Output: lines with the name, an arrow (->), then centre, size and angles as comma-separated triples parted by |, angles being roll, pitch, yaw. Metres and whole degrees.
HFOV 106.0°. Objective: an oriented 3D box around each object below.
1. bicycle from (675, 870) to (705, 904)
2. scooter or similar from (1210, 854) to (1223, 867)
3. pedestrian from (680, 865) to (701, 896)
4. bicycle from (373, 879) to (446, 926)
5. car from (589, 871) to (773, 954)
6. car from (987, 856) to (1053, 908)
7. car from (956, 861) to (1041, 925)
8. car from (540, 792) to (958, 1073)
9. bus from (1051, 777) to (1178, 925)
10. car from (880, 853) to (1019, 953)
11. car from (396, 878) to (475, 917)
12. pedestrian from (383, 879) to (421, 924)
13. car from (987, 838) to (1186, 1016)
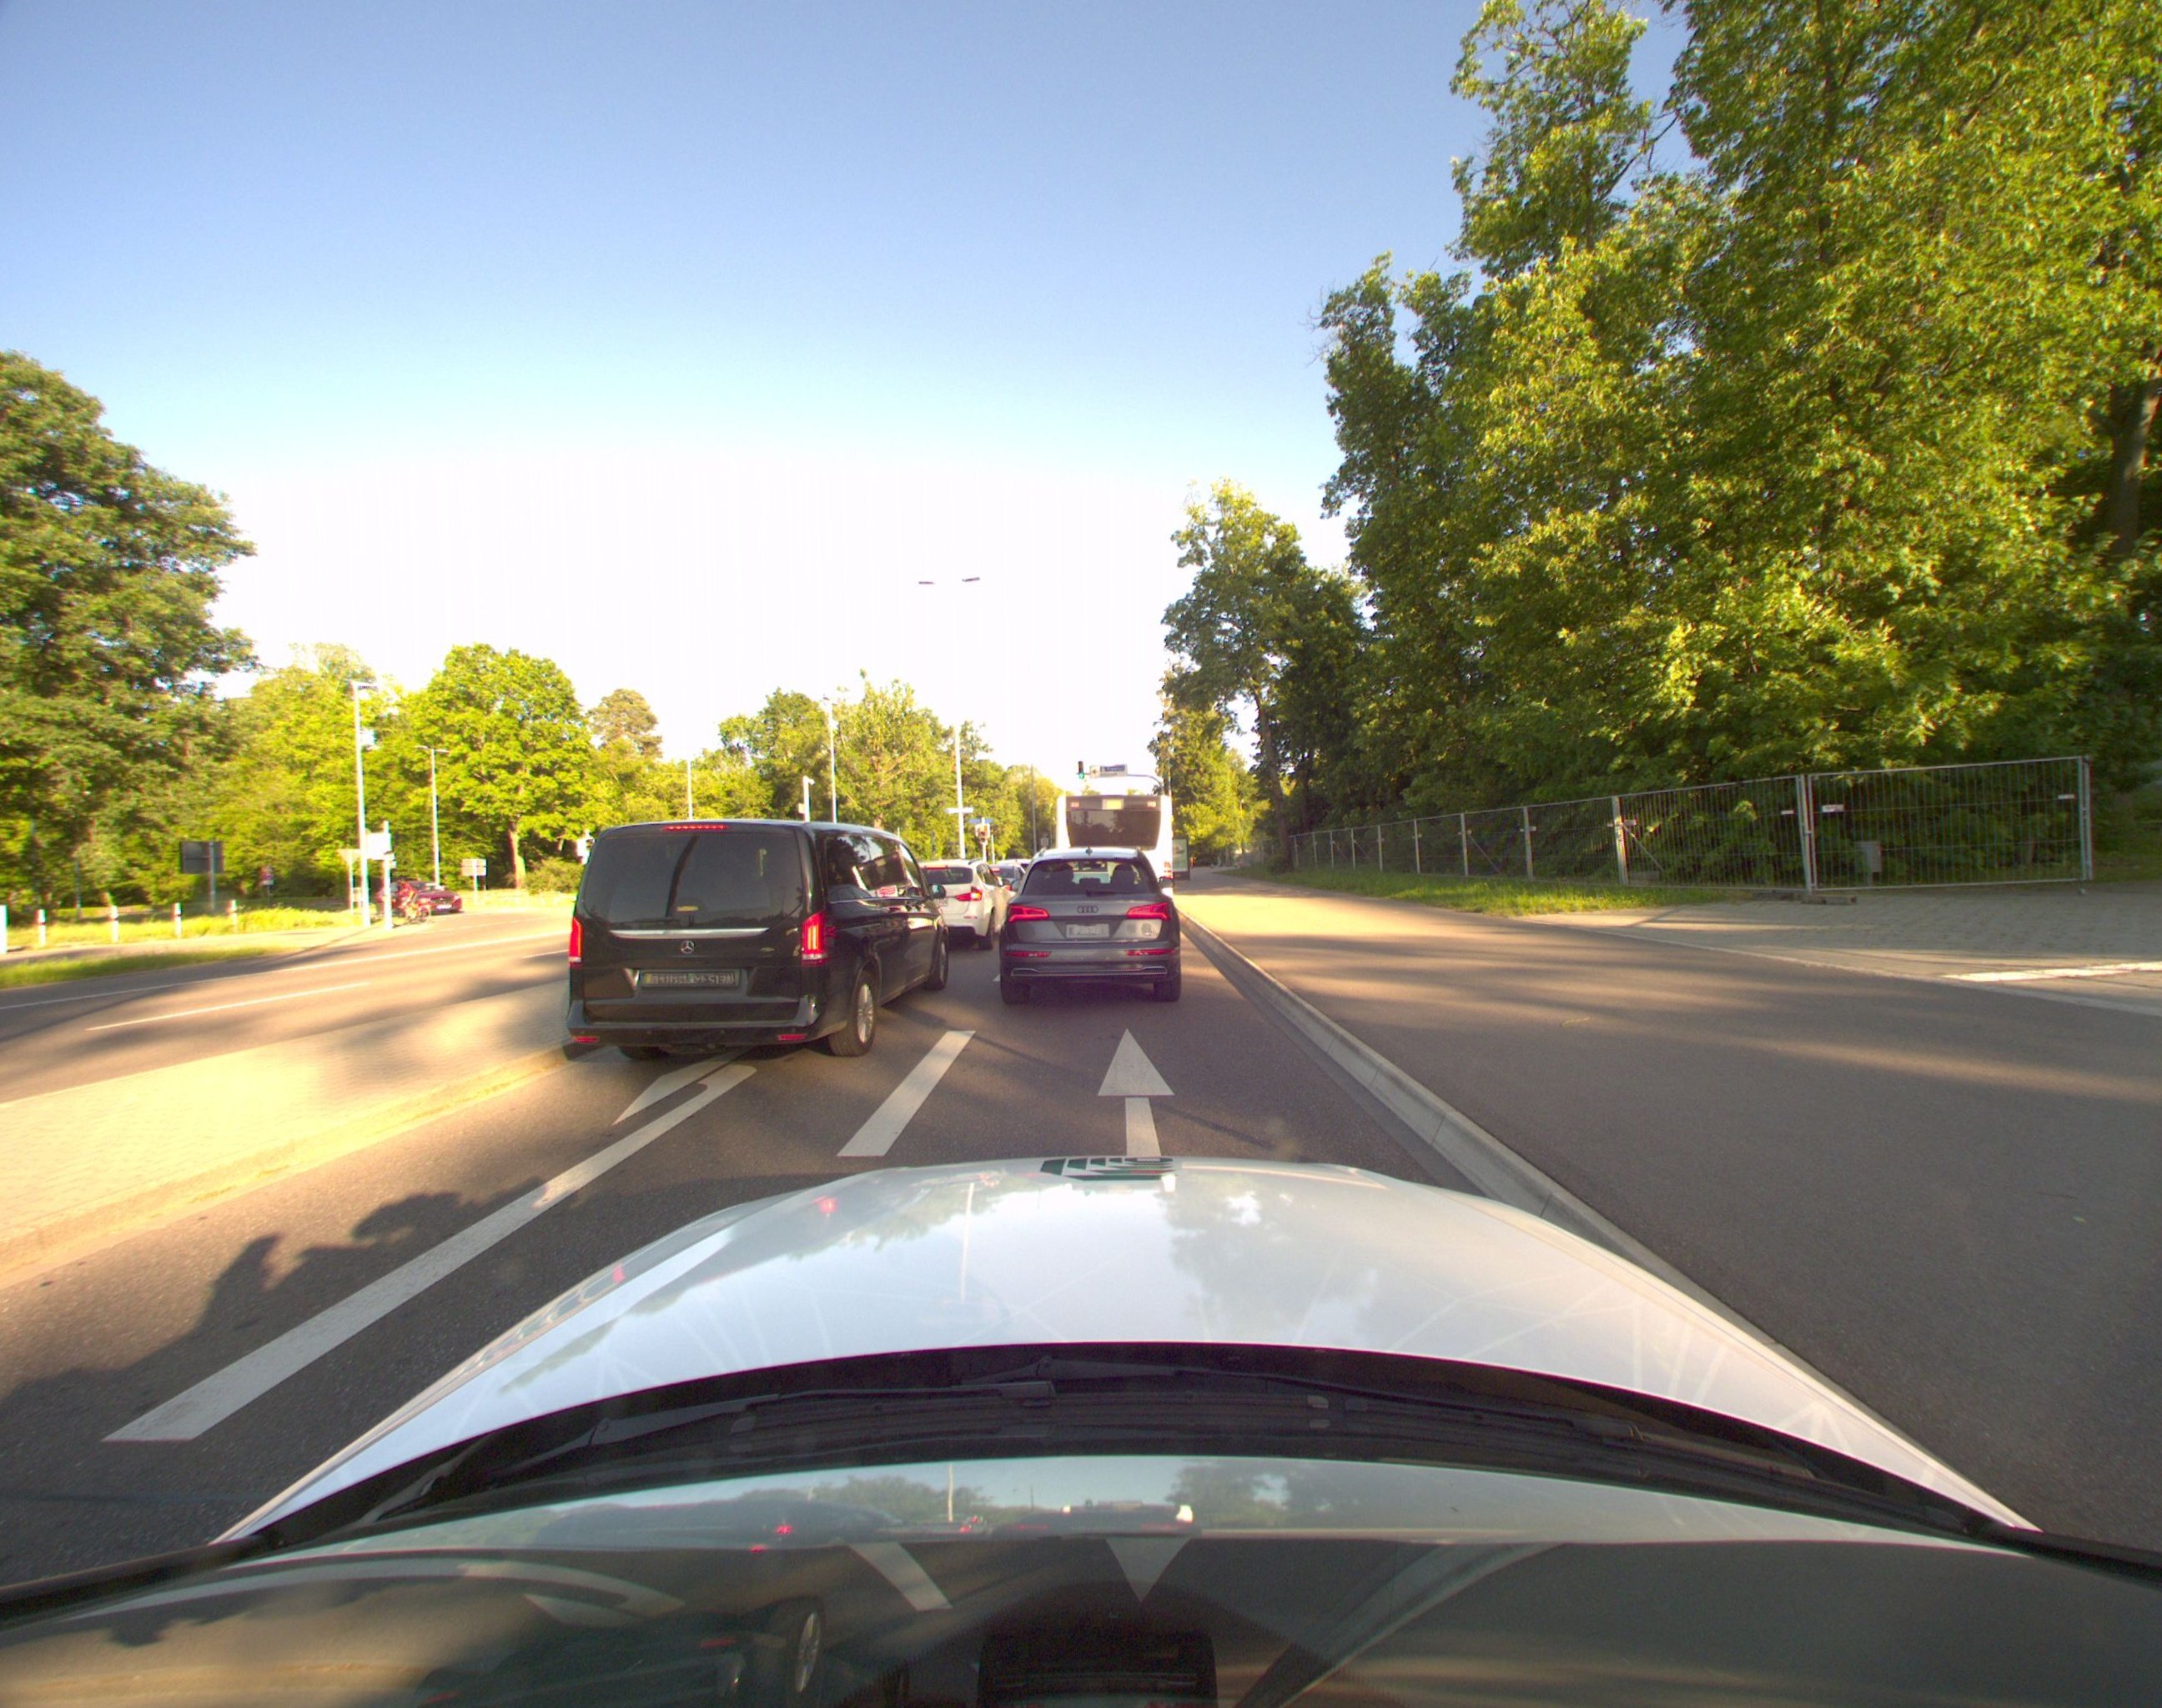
bicycle -> -20.735, 1.733, 43.216 | 0.613, 1.750, 1.993 | 0, -1, 0
scooter or similar -> 12.931, 0.602, 77.569 | 1.175, 1.174, 0.661 | 0, 0, 13
pedestrian -> -20.730, 1.376, 43.249 | 0.693, 1.626, 0.789 | 0, -1, 2
bicycle -> -23.627, 1.695, 28.702 | 0.747, 1.551, 2.024 | -1, -1, 5
car -> -7.674, 1.060, 16.067 | 1.593, 1.396, 3.846 | 0, -1, 3
car -> -2.005, 0.890, 27.708 | 1.801, 1.572, 4.002 | 0, 0, 2
car -> -2.040, 0.937, 21.302 | 1.779, 1.444, 4.277 | 0, 0, 0
car -> -2.581, 0.543, 7.855 | 1.900, 1.856, 4.875 | -1, -1, 2
bus -> 0.871, -0.080, 20.297 | 2.667, 3.142, 5.886 | 0, 0, 3
car -> -2.267, 0.799, 15.171 | 1.712, 1.581, 4.435 | 0, -1, 2
car -> -30.029, 1.978, 37.863 | 3.948, 1.618, 2.013 | -1, -1, 38
pedestrian -> -23.668, 1.657, 28.405 | 0.736, 1.544, 0.674 | -1, -1, 4
car -> 0.117, 0.676, 9.670 | 1.861, 1.664, 4.002 | 0, 0, 2
